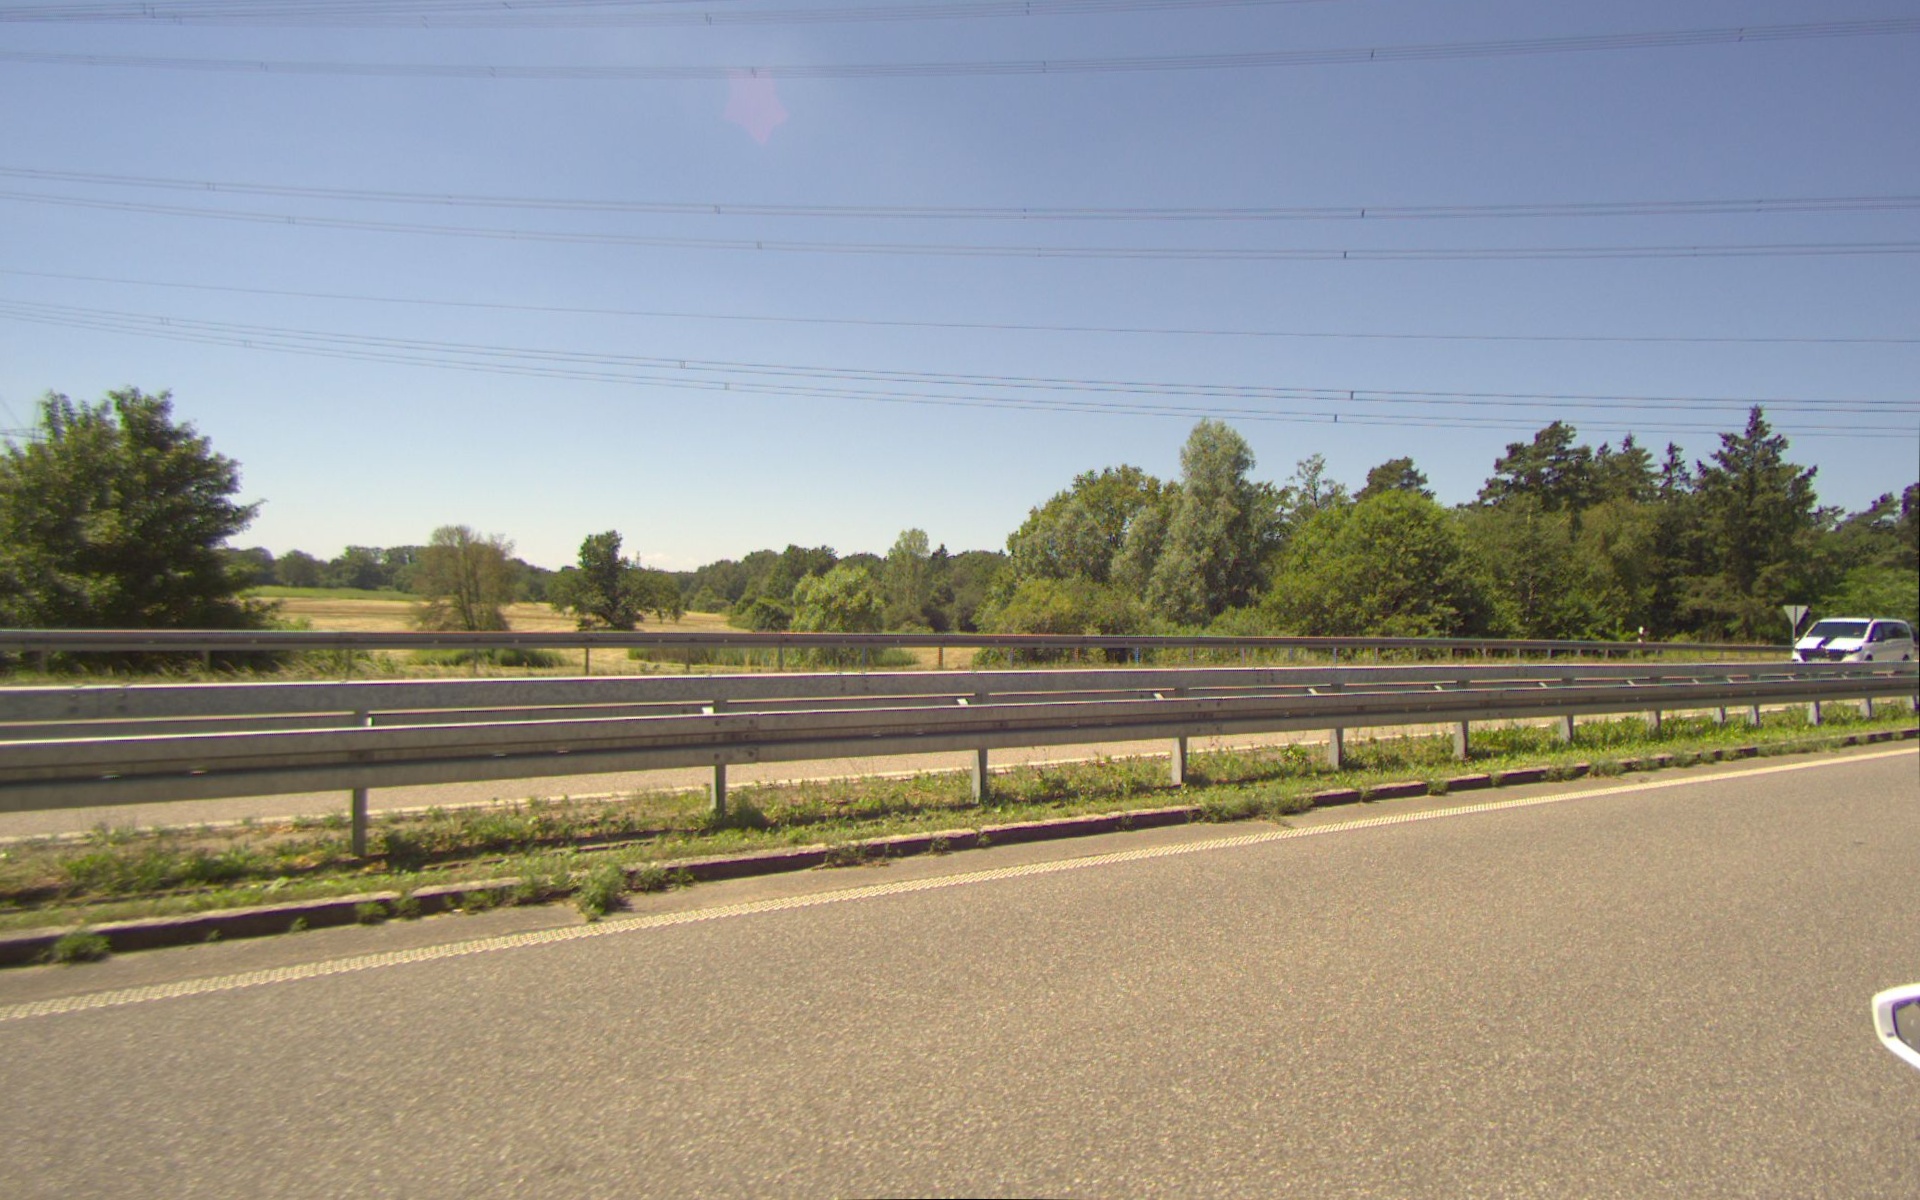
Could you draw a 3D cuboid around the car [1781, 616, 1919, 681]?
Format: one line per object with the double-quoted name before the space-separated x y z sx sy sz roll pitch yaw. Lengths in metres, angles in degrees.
"car" 29.704 1.588 33.467 5.468 2.019 1.882 2 -1 -30
